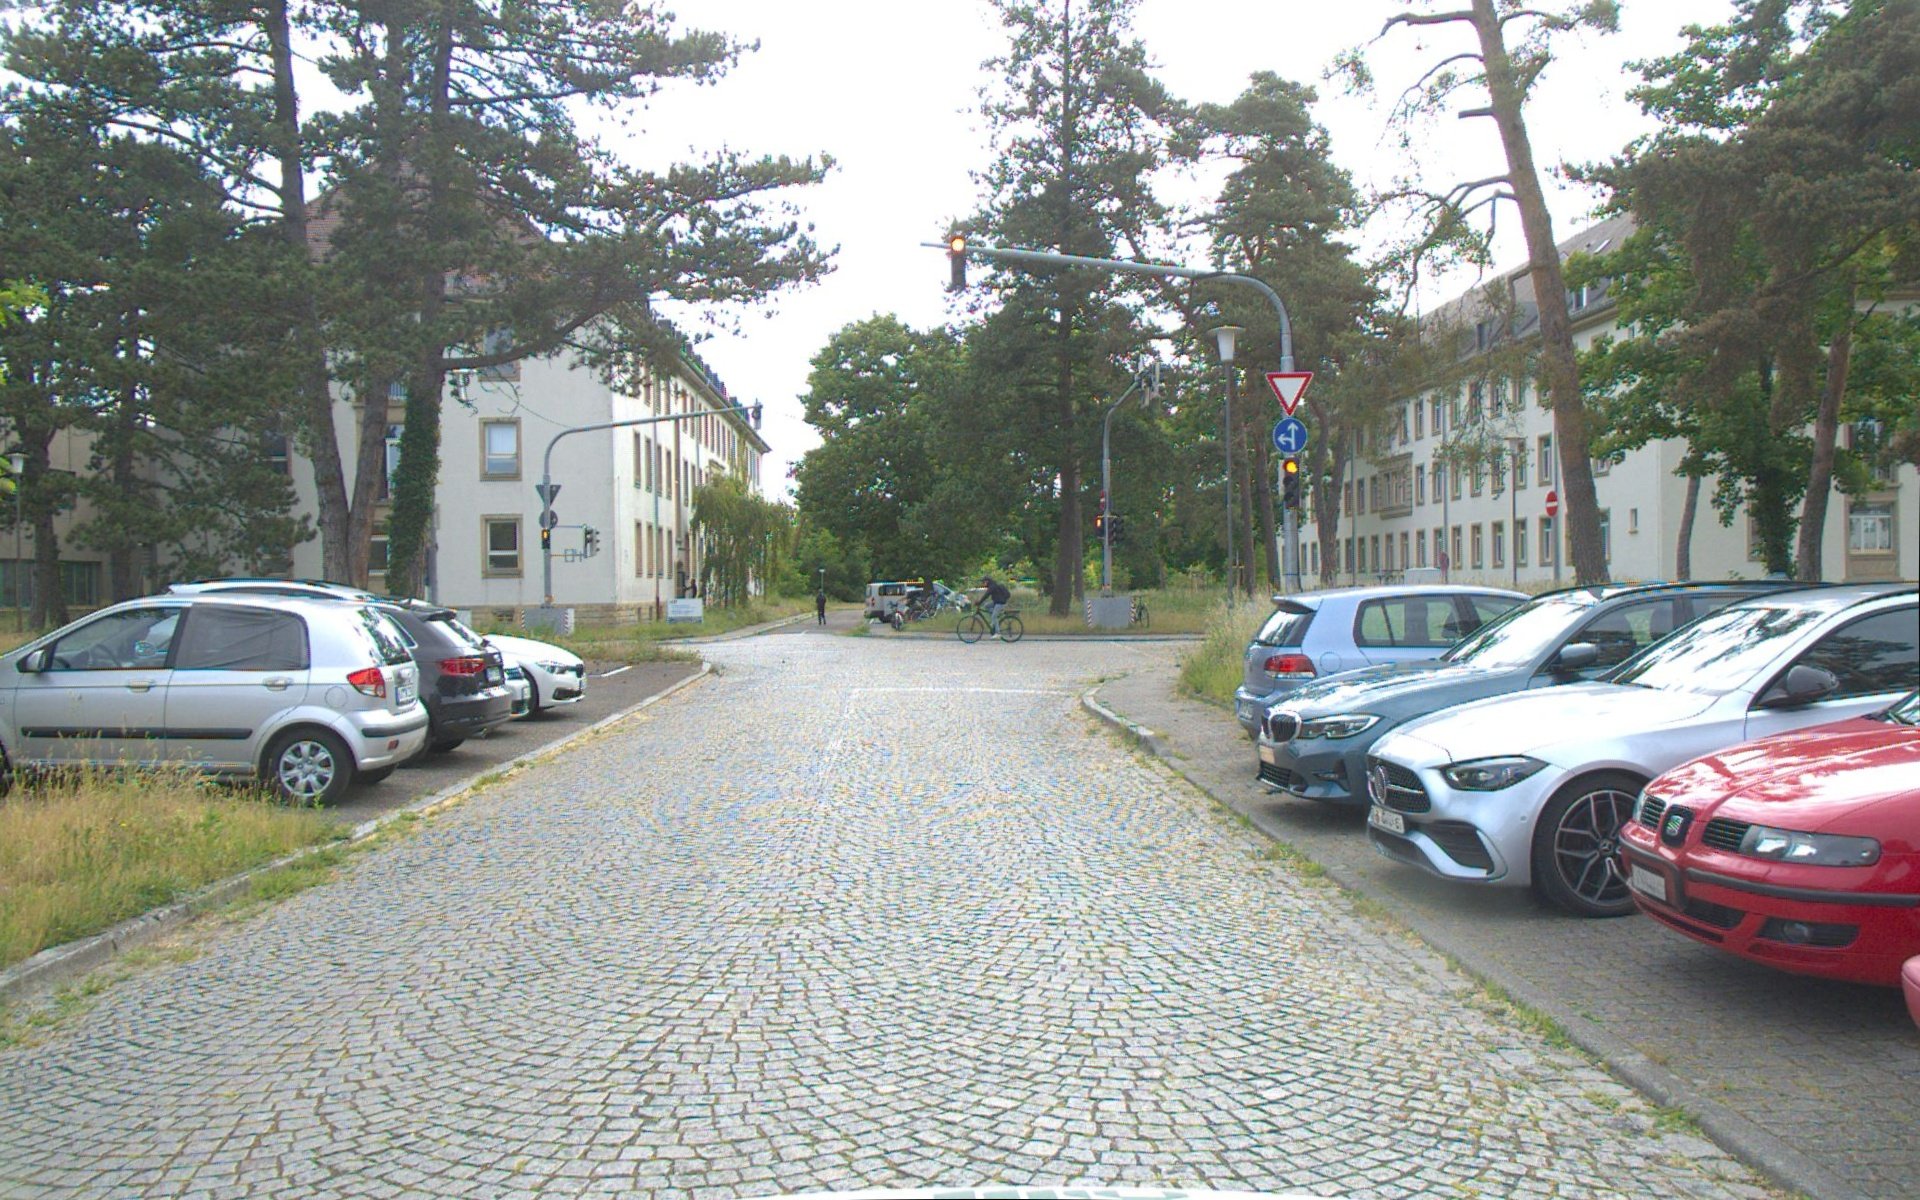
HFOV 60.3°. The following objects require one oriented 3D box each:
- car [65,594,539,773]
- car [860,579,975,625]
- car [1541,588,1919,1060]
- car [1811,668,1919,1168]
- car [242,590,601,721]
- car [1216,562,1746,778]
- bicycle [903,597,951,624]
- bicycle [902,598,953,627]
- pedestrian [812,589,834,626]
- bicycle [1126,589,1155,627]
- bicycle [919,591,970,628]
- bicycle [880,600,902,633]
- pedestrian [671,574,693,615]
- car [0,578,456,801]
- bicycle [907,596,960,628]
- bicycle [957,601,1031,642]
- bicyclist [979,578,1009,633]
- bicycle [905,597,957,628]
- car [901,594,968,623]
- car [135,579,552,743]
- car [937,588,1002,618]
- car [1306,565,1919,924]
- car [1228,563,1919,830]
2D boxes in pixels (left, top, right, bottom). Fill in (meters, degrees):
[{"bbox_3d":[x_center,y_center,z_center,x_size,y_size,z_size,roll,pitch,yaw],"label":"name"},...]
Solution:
[{"bbox_3d":[-5.876,0.733,15.114,3.673,1.453,1.581,2,0,-5],"label":"car"},{"bbox_3d":[-2.079,0.090,80.449,5.266,1.958,2.019,-2,0,-12],"label":"car"},{"bbox_3d":[4.679,0.654,6.367,4.177,1.441,1.870,-3,0,-3],"label":"car"},{"bbox_3d":[4.366,0.751,3.922,3.786,1.257,1.757,-3,0,-4],"label":"car"},{"bbox_3d":[-6.541,0.657,20.410,3.869,1.446,1.649,2,0,-3],"label":"car"},{"bbox_3d":[4.206,0.537,13.756,3.847,1.503,1.642,-3,0,-1],"label":"car"},{"bbox_3d":[-1.384,0.444,69.542,1.932,1.088,0.583,-1,0,-27],"label":"bicycle"},{"bbox_3d":[-1.261,0.479,64.508,1.936,1.088,0.581,-1,0,-32],"label":"bicycle"},{"bbox_3d":[-6.098,0.323,73.528,0.730,1.646,0.769,-1,0,-29],"label":"pedestrian"},{"bbox_3d":[5.516,0.220,50.566,0.574,1.125,1.960,-1,0,-2],"label":"bicycle"},{"bbox_3d":[-0.603,0.366,63.884,1.919,1.408,0.587,-1,0,-9],"label":"bicycle"},{"bbox_3d":[-2.464,0.577,59.141,0.592,1.152,1.958,-1,0,-8],"label":"bicycle"},{"bbox_3d":[-13.062,-0.257,77.627,0.767,1.869,0.732,-1,0,-34],"label":"pedestrian"},{"bbox_3d":[-5.870,0.633,12.516,3.631,1.505,1.581,2,0,-5],"label":"car"},{"bbox_3d":[-1.013,0.438,62.401,1.919,1.152,0.587,-1,0,-9],"label":"bicycle"},{"bbox_3d":[0.896,0.561,43.787,1.916,1.042,0.605,-1,0,-3],"label":"bicycle"},{"bbox_3d":[0.888,0.142,43.779,0.734,1.435,0.605,-1,0,-2],"label":"bicyclist"},{"bbox_3d":[-1.100,0.459,63.031,1.919,1.136,0.587,-1,0,-9],"label":"bicycle"},{"bbox_3d":[-1.202,0.374,77.108,2.949,1.290,1.532,-1,0,-8],"label":"car"},{"bbox_3d":[-6.532,0.634,17.873,3.871,1.590,1.648,2,0,-5],"label":"car"},{"bbox_3d":[0.450,0.148,84.441,3.169,1.441,1.723,-1,0,-5],"label":"car"},{"bbox_3d":[4.228,0.596,8.617,4.344,1.441,1.866,-3,0,-11],"label":"car"},{"bbox_3d":[4.337,0.578,11.310,4.590,1.441,1.869,-3,0,-5],"label":"car"}]
